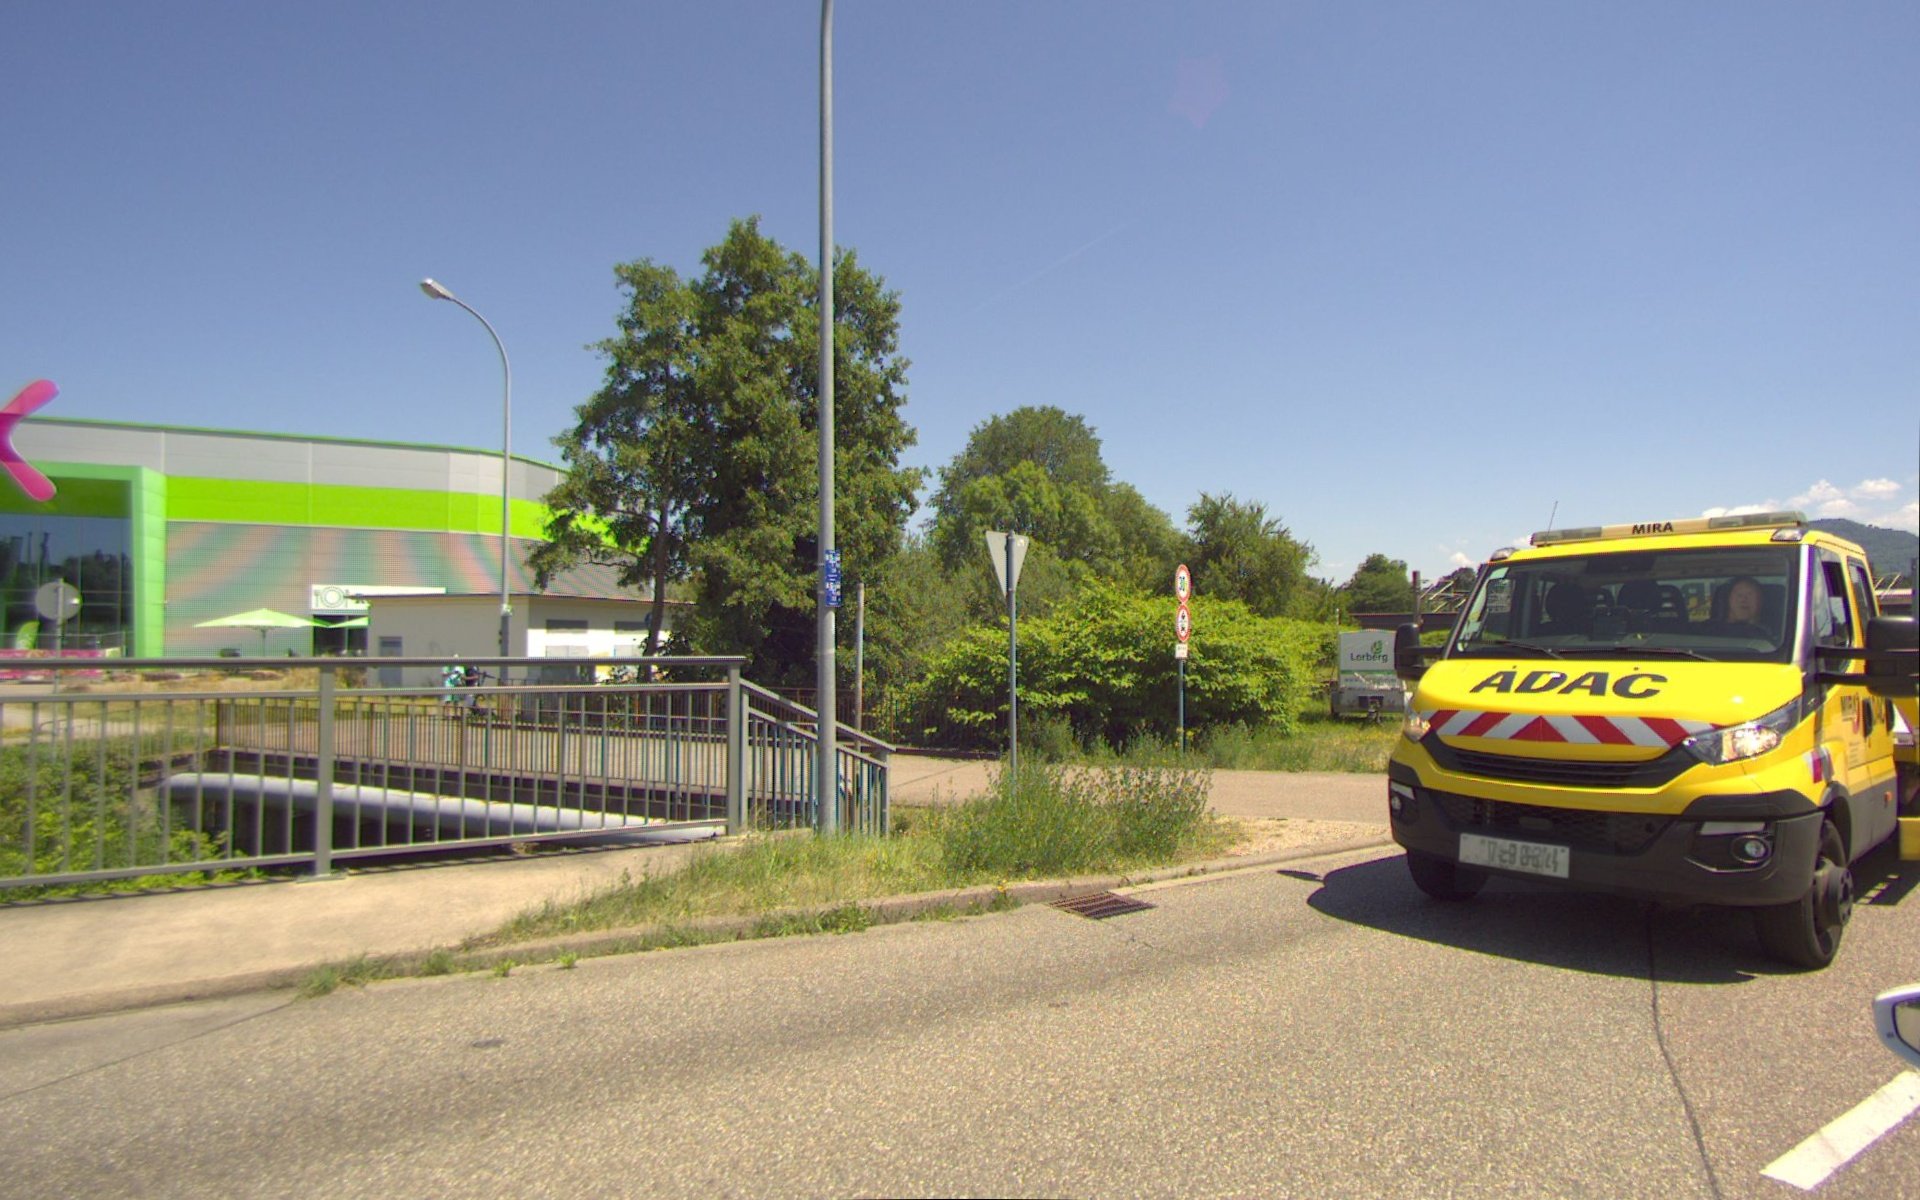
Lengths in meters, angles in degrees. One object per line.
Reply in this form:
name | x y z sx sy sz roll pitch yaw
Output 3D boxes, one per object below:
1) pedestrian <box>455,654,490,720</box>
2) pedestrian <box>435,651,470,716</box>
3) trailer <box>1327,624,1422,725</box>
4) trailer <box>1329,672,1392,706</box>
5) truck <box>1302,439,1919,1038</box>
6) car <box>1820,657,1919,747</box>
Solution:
pedestrian | -13.090 2.326 26.970 0.619 1.696 0.595 2 0 40
pedestrian | -13.718 2.254 27.165 0.507 1.696 0.626 2 0 39
trailer | 9.561 1.645 23.144 1.821 2.040 3.958 2 -1 23
trailer | 11.231 2.459 28.092 1.535 0.748 2.851 2 -2 23
truck | 6.142 0.811 7.750 8.977 2.367 2.292 4 -5 -40
car | 20.483 2.185 22.285 1.878 1.725 3.984 -1 -2 37
